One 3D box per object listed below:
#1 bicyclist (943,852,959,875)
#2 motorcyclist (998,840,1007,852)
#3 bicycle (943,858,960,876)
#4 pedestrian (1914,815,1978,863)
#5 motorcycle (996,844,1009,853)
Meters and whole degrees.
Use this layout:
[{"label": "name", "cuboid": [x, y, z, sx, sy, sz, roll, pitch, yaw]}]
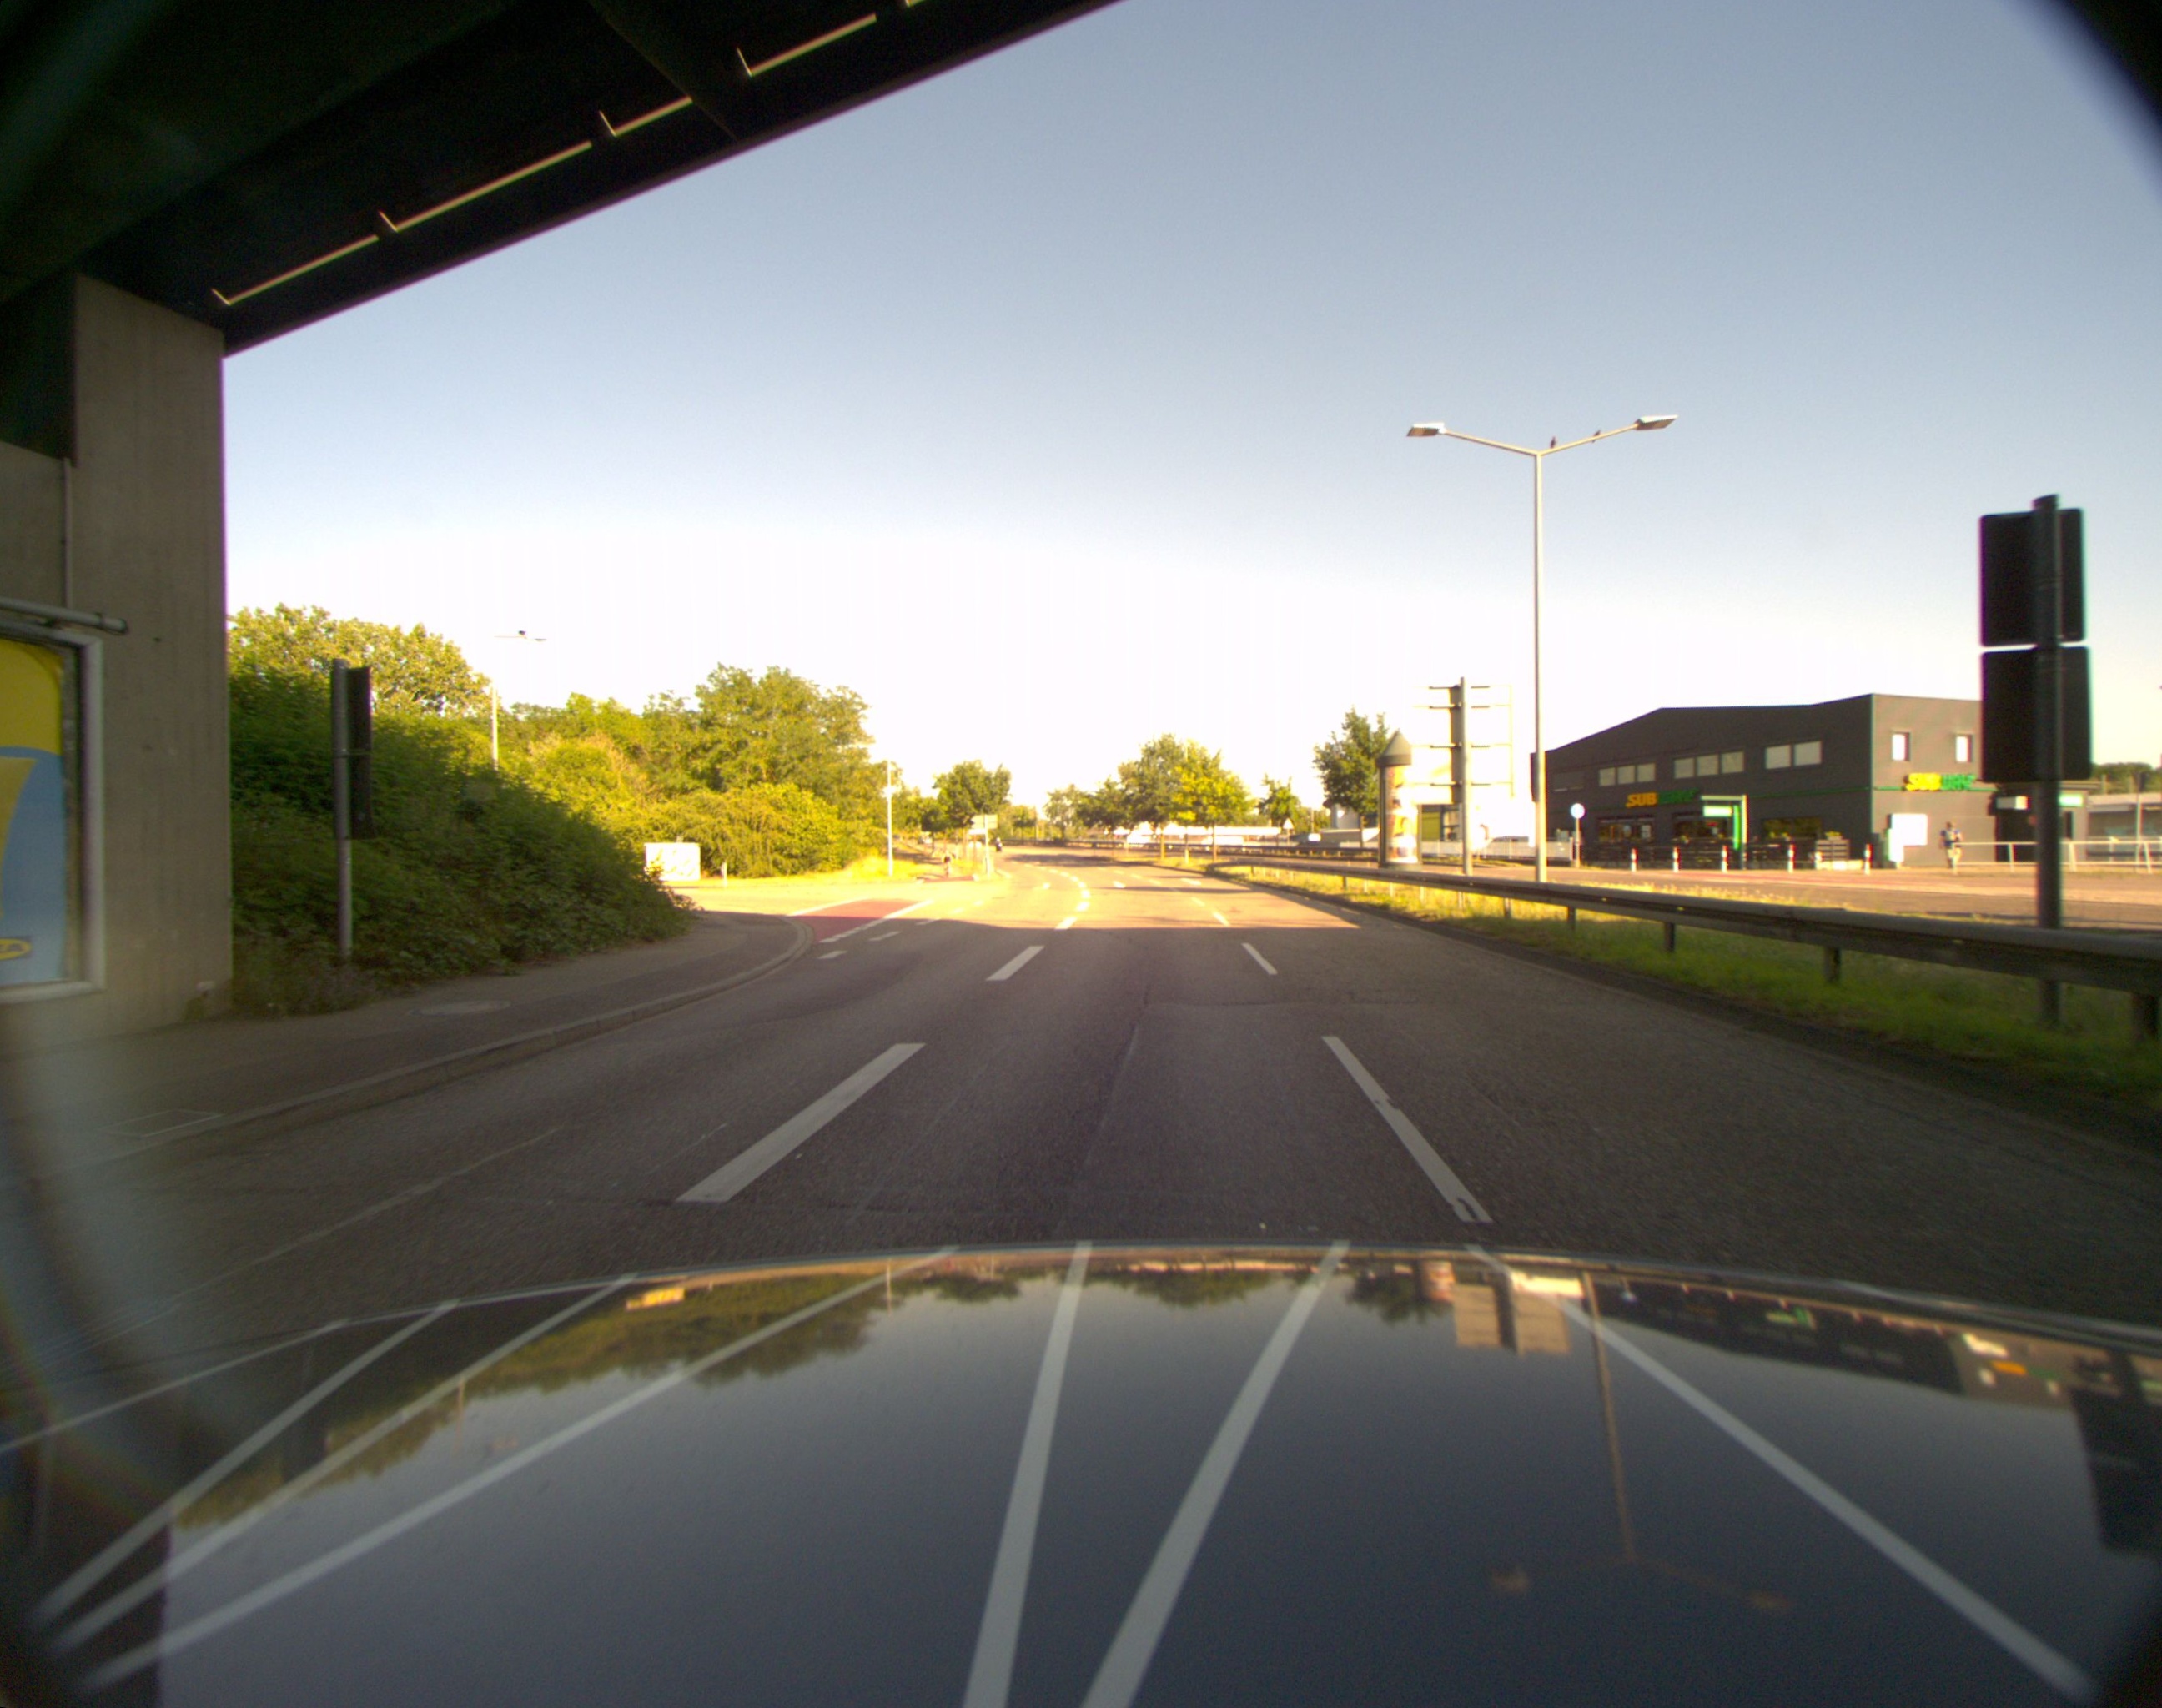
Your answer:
[{"label": "bicyclist", "cuboid": [-8.346, 0.618, 48.741, 0.844, 1.413, 1.112, -3, 1, -15]}, {"label": "motorcyclist", "cuboid": [-9.623, -0.930, 93.217, 0.839, 1.433, 0.879, -2, 1, 13]}, {"label": "bicycle", "cuboid": [-8.263, 0.807, 48.547, 0.783, 1.051, 2.493, -3, 1, -15]}, {"label": "pedestrian", "cuboid": [34.541, -0.584, 30.355, 1.274, 1.825, 1.085, -2, 1, 7]}, {"label": "motorcycle", "cuboid": [-9.615, -0.704, 93.278, 0.810, 1.040, 2.355, -2, 1, 13]}]
